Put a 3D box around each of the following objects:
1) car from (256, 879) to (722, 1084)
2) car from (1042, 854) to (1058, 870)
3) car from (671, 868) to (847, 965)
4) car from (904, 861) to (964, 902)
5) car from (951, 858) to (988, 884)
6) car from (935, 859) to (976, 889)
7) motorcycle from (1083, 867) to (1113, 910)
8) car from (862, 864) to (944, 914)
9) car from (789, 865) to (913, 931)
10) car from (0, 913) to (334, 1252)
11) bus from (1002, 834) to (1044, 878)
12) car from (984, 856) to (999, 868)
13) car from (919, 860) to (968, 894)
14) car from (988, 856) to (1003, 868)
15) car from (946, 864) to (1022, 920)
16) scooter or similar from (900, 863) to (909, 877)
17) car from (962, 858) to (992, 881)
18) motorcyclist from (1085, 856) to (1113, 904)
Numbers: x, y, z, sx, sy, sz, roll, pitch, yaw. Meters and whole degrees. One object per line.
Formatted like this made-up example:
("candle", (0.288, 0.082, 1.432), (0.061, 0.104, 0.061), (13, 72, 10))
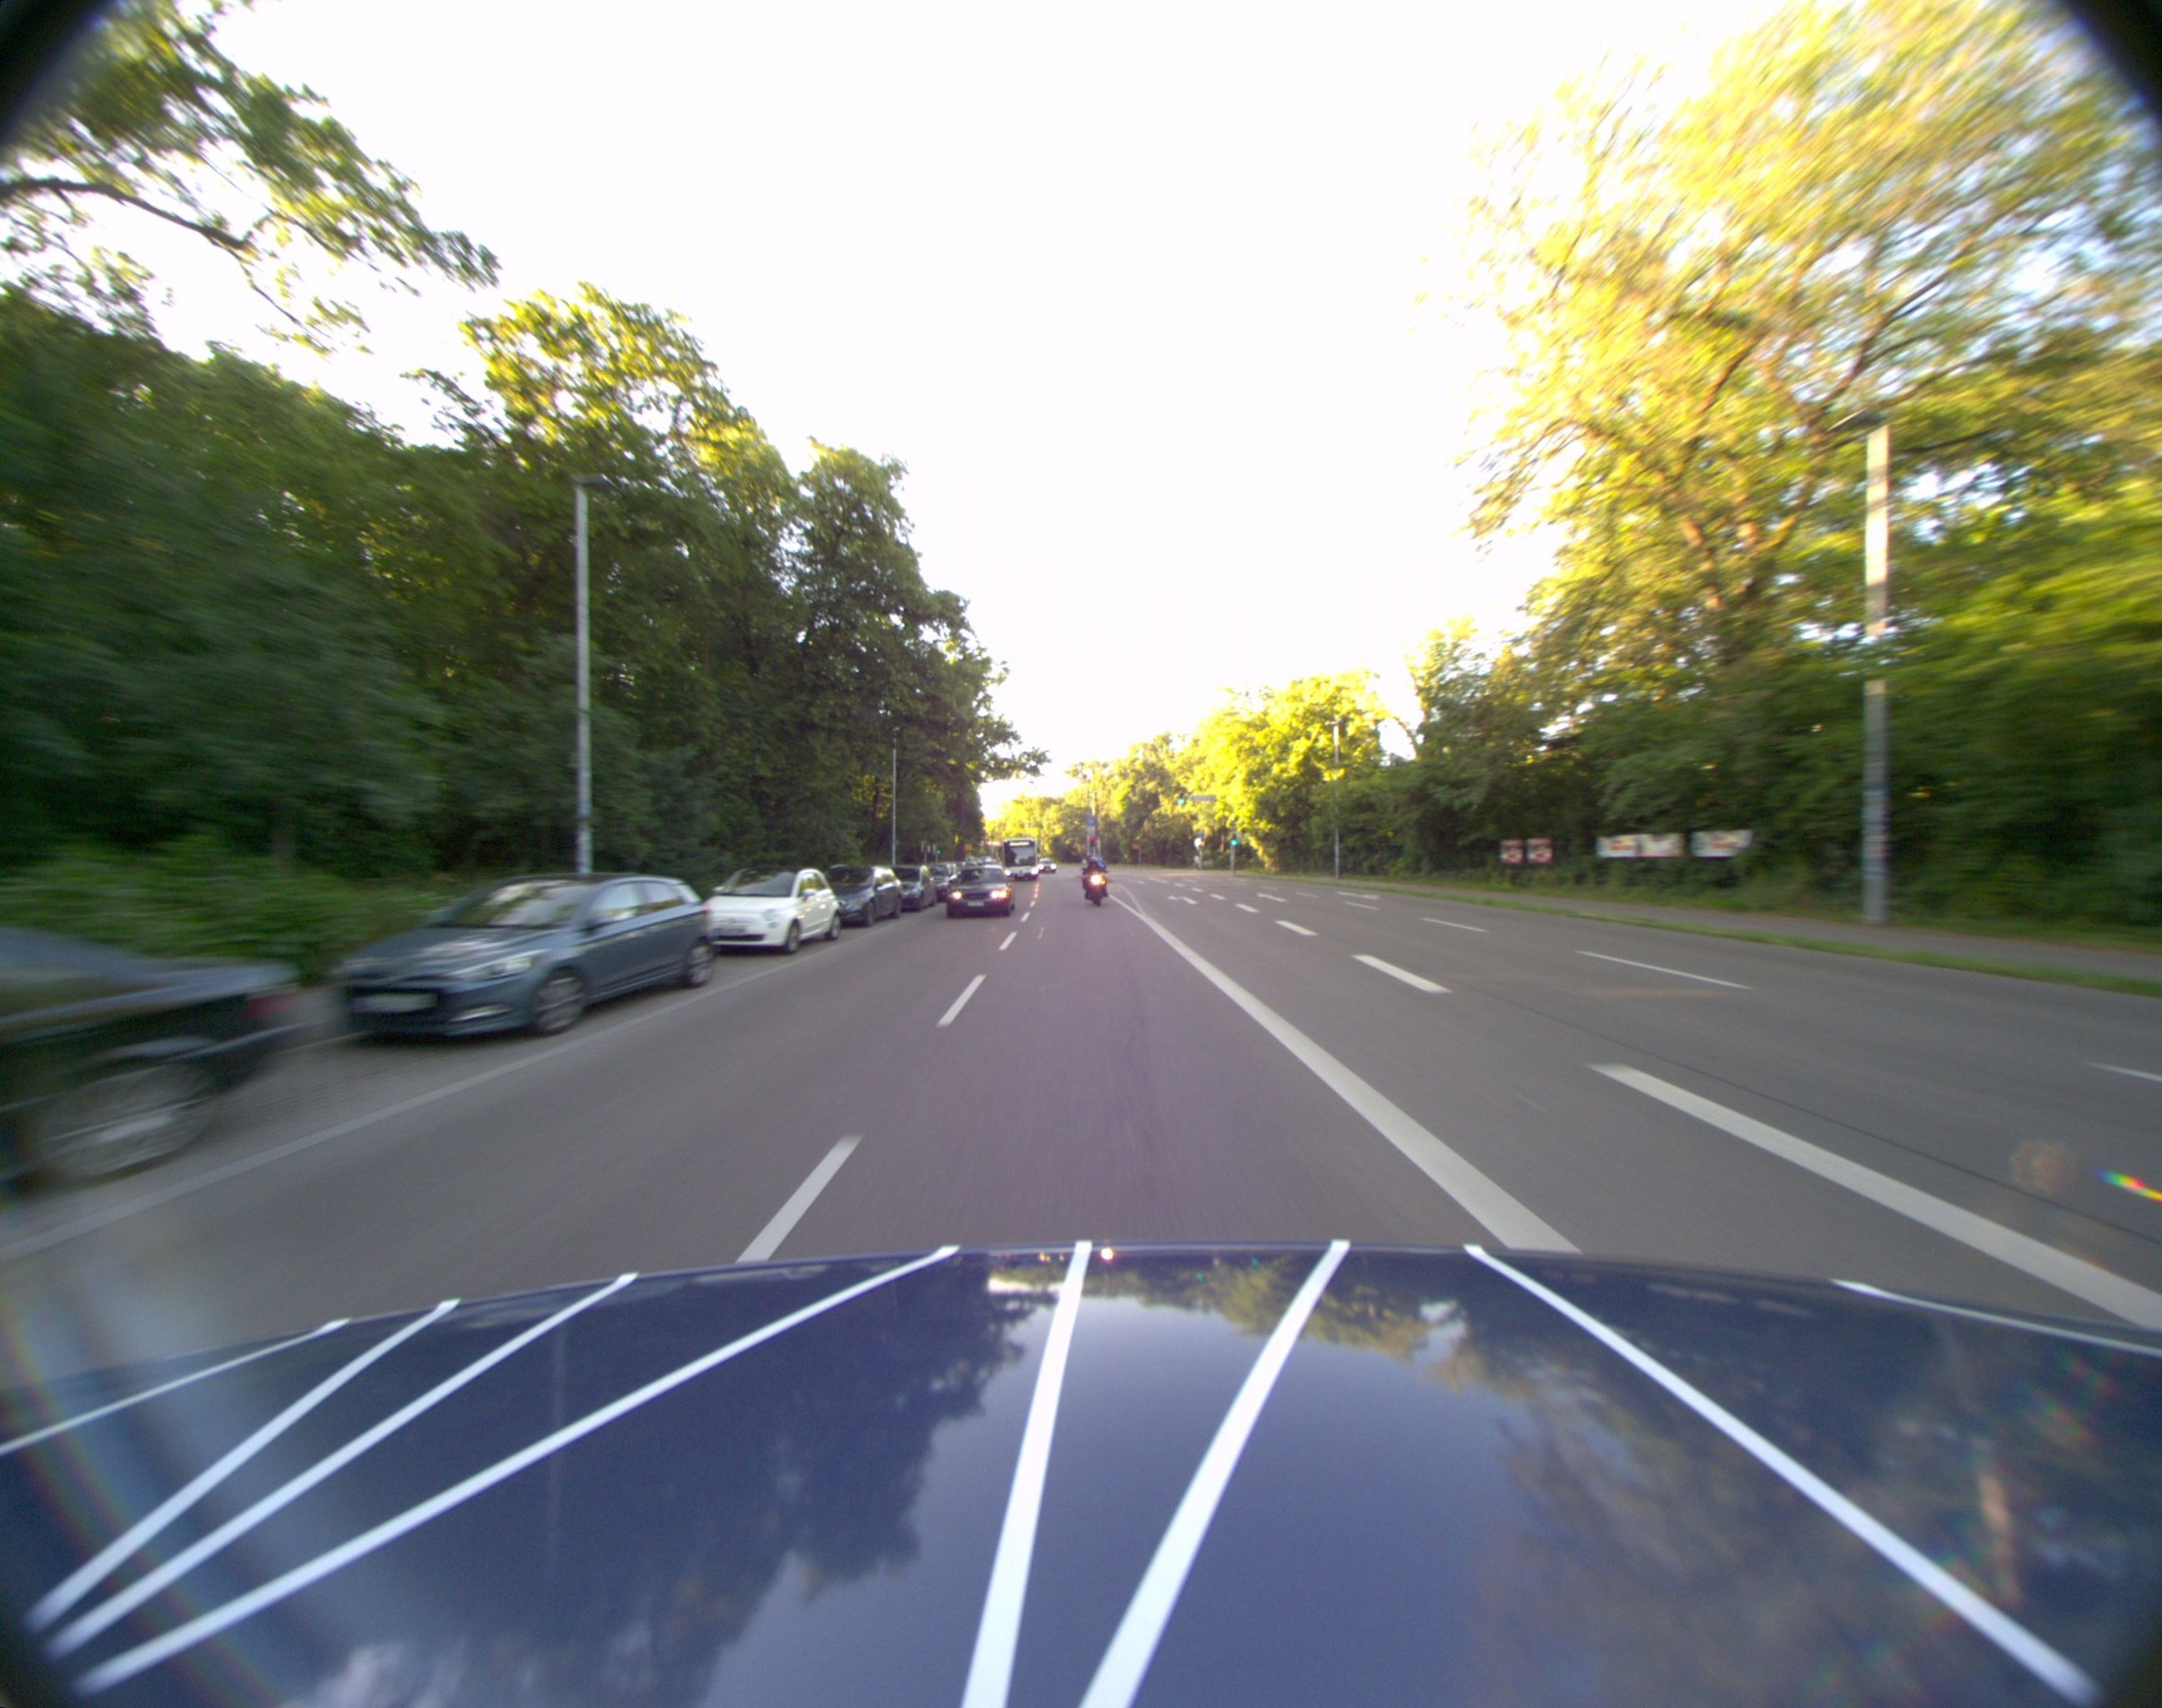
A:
("car", (-5.636, 1.071, 8.033), (1.681, 1.455, 4.066), (0, 1, 1))
("car", (-3.308, 0.816, 80.528), (1.679, 1.552, 3.993), (-2, 0, -3))
("car", (-5.739, 1.047, 14.067), (1.682, 1.455, 3.688), (0, 1, 0))
("car", (-5.756, 1.034, 30.190), (1.723, 1.403, 4.485), (0, 1, -3))
("car", (-6.680, 0.994, 45.992), (1.723, 1.460, 4.986), (0, 1, -3))
("car", (-6.648, 1.006, 40.619), (1.723, 1.460, 4.201), (0, 1, -3))
("motorcycle", (0.561, 1.069, 24.193), (0.830, 1.212, 2.604), (-1, 0, 3))
("car", (-5.714, 1.078, 24.914), (1.722, 1.403, 4.486), (0, 1, -1))
("car", (-5.778, 1.038, 19.744), (1.722, 1.403, 4.906), (0, 1, 0))
("car", (-5.708, 1.097, 2.585), (1.681, 1.392, 4.650), (0, 1, 1))
("bus", (-4.446, 0.154, 59.889), (2.813, 3.030, 12.881), (-2, 0, -3))
("car", (-11.011, 0.936, 93.149), (1.723, 1.460, 3.870), (0, 1, -8))
("car", (-6.276, 1.019, 35.049), (1.723, 1.403, 4.122), (0, 1, -3))
("car", (-11.102, 1.068, 98.872), (1.767, 1.460, 5.114), (0, 1, -5))
("car", (-2.724, 1.045, 22.103), (1.679, 1.351, 3.993), (-2, 0, -1))
("scooter or similar", (-14.250, 1.290, 61.526), (0.379, 1.137, 1.223), (-1, 0, 2))
("car", (-7.143, 1.019, 52.404), (1.722, 1.460, 3.755), (0, 1, -3))
("motorcyclist", (0.571, 0.810, 24.188), (0.830, 1.484, 1.024), (-1, 1, 3))
